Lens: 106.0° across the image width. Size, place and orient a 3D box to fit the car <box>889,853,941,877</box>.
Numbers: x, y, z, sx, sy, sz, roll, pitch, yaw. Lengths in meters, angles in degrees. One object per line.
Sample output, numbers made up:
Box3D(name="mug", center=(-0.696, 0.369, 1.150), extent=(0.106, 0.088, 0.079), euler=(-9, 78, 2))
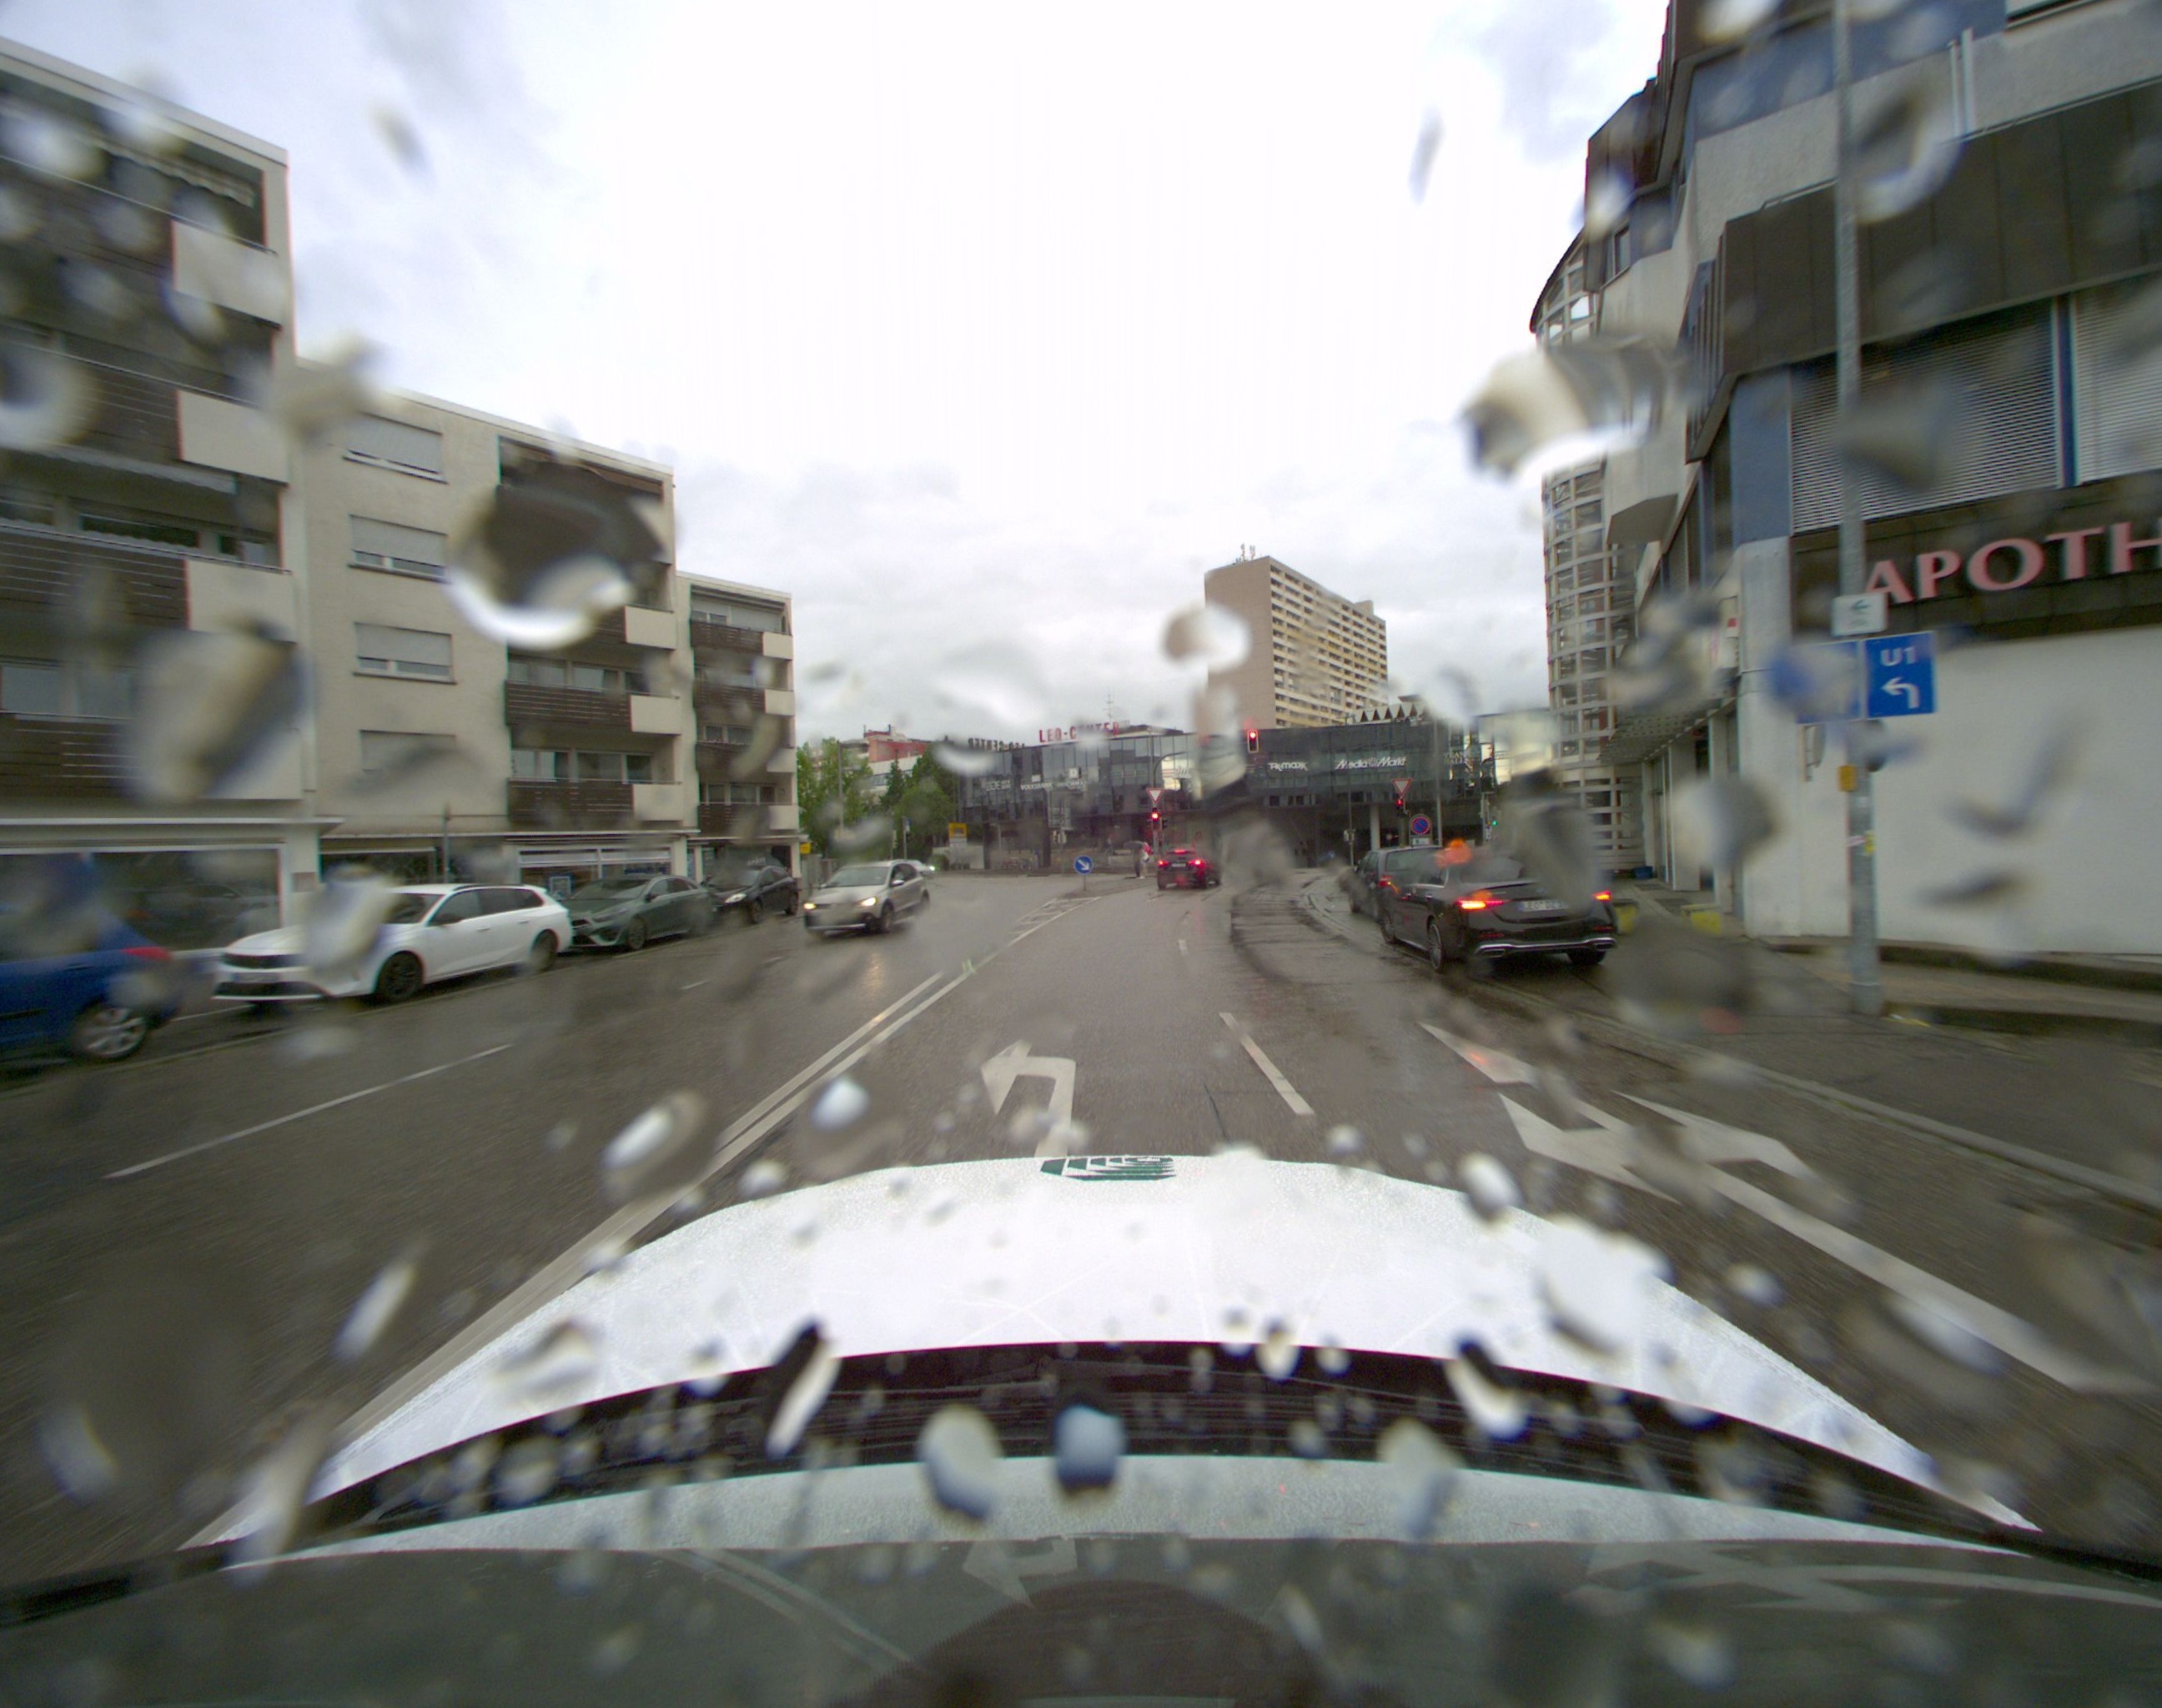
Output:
Box3D(name="car", center=(-11.892, 0.776, 58.171), extent=(2.009, 1.511, 4.385), euler=(1, 2, -37))

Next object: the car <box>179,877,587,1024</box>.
Box3D(name="car", center=(-9.416, 1.169, 11.664), extent=(1.687, 1.464, 4.685), euler=(-2, 0, 1))

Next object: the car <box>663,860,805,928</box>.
Box3D(name="car", center=(-9.304, 1.008, 22.280), extent=(1.928, 1.541, 4.274), euler=(-2, 0, 1))

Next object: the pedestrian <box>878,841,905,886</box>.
Box3D(name="pedestrian", center=(-8.744, 0.434, 37.574), extent=(0.742, 2.013, 0.926), euler=(2, 0, 21))

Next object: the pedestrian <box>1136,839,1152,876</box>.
Box3D(name="pedestrian", center=(2.919, 0.151, 37.804), extent=(0.608, 1.659, 0.671), euler=(1, 1, -4))

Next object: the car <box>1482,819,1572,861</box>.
Box3D(name="car", center=(23.409, -0.723, 42.769), extent=(3.948, 2.013, 2.013), euler=(-2, 0, 33))

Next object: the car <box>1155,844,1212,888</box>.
Box3D(name="car", center=(3.859, 0.398, 30.106), extent=(1.793, 1.419, 4.012), euler=(-2, 0, 10))

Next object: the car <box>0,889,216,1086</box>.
Box3D(name="car", center=(-9.658, 1.162, 6.104), extent=(1.646, 1.521, 4.324), euler=(-2, 0, 0))

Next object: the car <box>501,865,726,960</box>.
Box3D(name="car", center=(-9.415, 1.084, 16.941), extent=(1.928, 1.541, 4.522), euler=(-2, 0, 1))

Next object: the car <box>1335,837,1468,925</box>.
Box3D(name="car", center=(6.586, 0.480, 17.163), extent=(1.688, 1.486, 4.011), euler=(-5, 0, 9))

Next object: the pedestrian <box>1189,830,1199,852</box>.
Box3D(name="pedestrian", center=(10.892, -1.241, 78.331), extent=(0.782, 2.013, 0.672), euler=(-3, 0, 11))

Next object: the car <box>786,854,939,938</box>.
Box3D(name="car", center=(-4.594, 0.821, 17.772), extent=(1.815, 1.439, 3.848), euler=(-4, 1, 7))

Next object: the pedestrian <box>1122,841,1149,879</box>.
Box3D(name="pedestrian", center=(2.458, 0.266, 36.928), extent=(0.914, 1.659, 0.749), euler=(1, 1, -27))

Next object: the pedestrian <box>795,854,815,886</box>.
Box3D(name="pedestrian", center=(-17.769, 1.036, 52.489), extent=(1.031, 2.013, 0.955), euler=(1, 1, -30))

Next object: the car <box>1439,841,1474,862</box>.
Box3D(name="car", center=(32.776, -0.240, 70.968), extent=(1.974, 1.717, 4.026), euler=(-3, 0, 35))

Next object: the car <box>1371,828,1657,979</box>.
Box3D(name="car", center=(5.279, 0.548, 10.741), extent=(1.981, 1.534, 4.660), euler=(-1, -1, 10))
